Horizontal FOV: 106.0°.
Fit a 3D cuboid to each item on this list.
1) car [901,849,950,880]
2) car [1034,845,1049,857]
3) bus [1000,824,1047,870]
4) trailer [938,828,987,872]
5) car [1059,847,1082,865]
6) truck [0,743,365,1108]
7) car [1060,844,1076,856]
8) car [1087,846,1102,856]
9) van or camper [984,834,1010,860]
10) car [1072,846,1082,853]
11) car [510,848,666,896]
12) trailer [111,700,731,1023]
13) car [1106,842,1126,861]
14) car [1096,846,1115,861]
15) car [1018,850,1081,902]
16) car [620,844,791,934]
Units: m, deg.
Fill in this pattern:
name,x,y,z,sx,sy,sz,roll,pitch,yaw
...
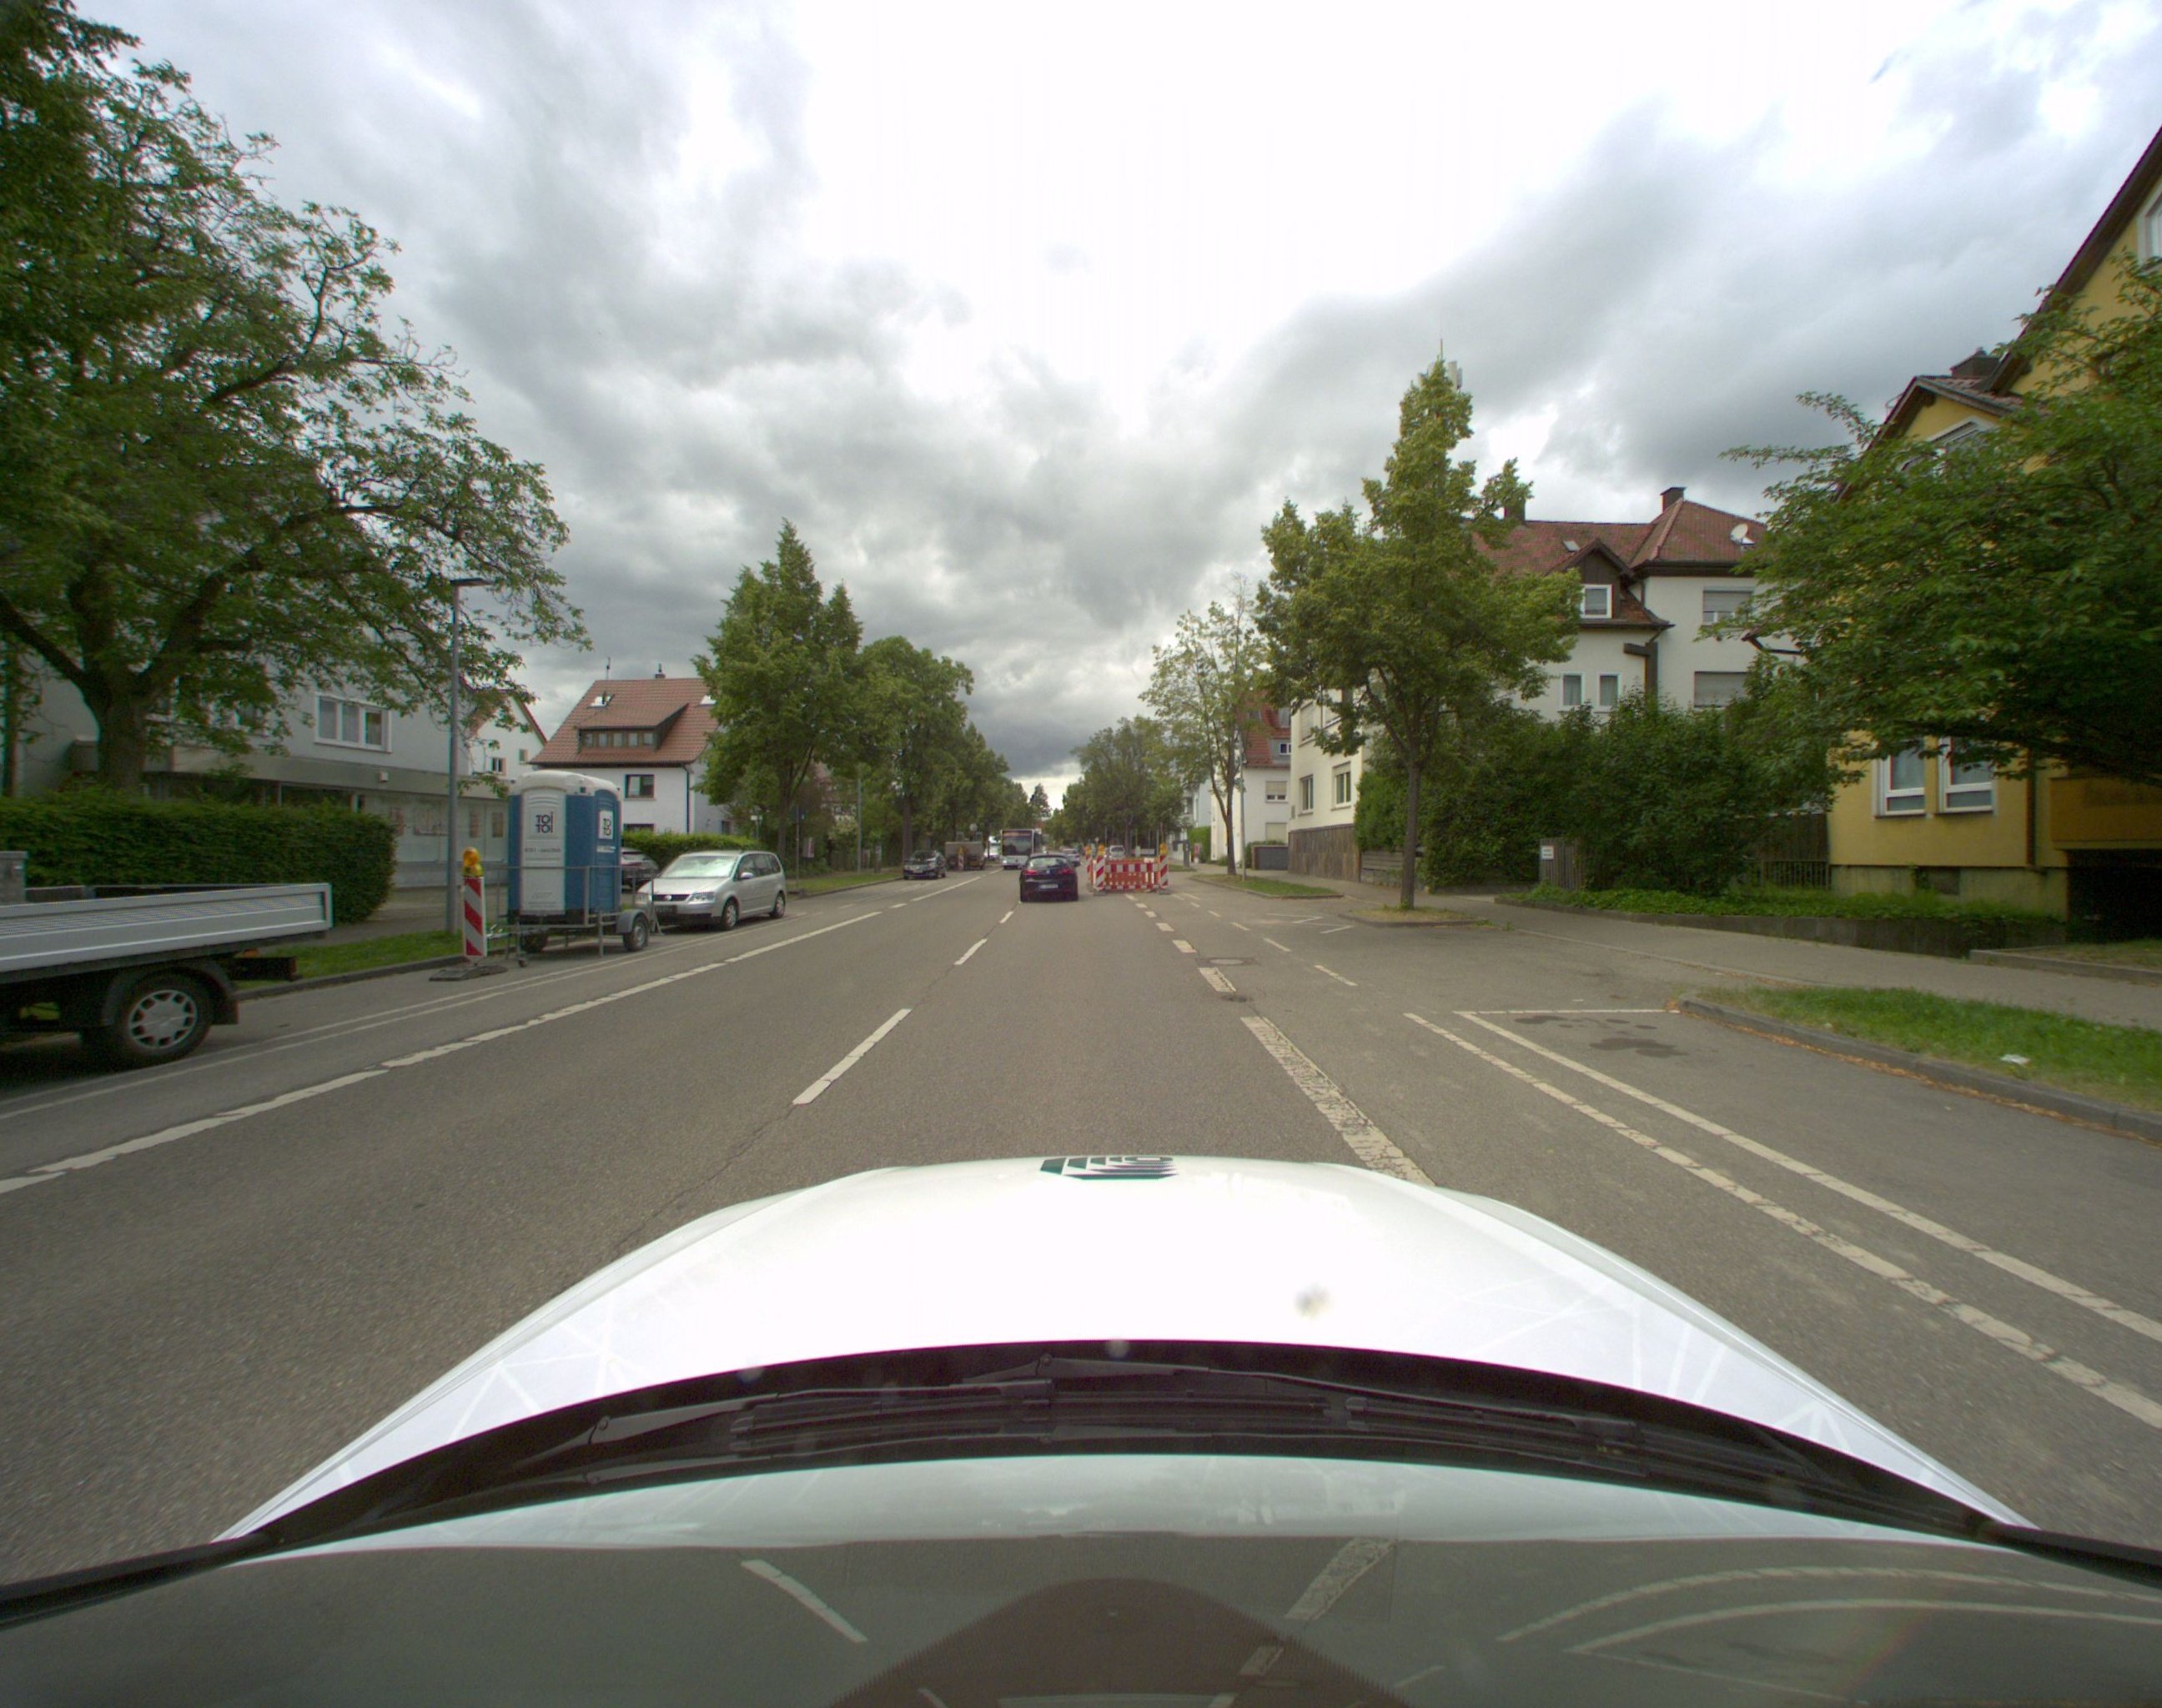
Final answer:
name,x,y,z,sx,sy,sz,roll,pitch,yaw
car,-8.295,0.585,43.831,1.855,1.553,4.616,0,-1,-1
car,-5.730,-0.484,119.374,1.987,1.667,4.588,-2,0,0
bus,-4.570,-0.475,68.112,2.796,3.288,18.039,0,0,-1
trailer,-8.447,-0.274,58.824,2.667,2.941,7.468,0,0,-2
car,-0.885,0.136,71.839,1.987,1.558,4.000,-1,0,0
truck,-7.976,0.469,4.348,2.285,2.287,6.469,-1,0,3
car,-1.718,-0.561,106.042,1.989,1.530,3.995,-1,0,-4
car,1.926,-0.418,120.706,2.015,1.443,5.022,0,1,-1
van or camper,-9.816,-0.831,96.333,2.428,3.009,7.688,-1,0,-1
car,-0.797,-1.017,175.910,1.681,1.432,4.035,-1,1,-7
car,-15.989,0.559,26.524,4.058,1.433,1.804,1,1,6
trailer,-7.658,0.051,11.071,2.362,2.963,7.017,-1,0,3
car,3.328,-0.249,77.089,1.628,1.665,3.646,-1,0,-2
car,2.484,-0.034,82.813,1.683,1.493,4.224,-1,0,-2
car,-1.025,0.624,25.030,1.780,1.449,3.553,-1,0,-4
car,-7.799,0.669,17.402,1.683,1.684,4.224,0,0,0
